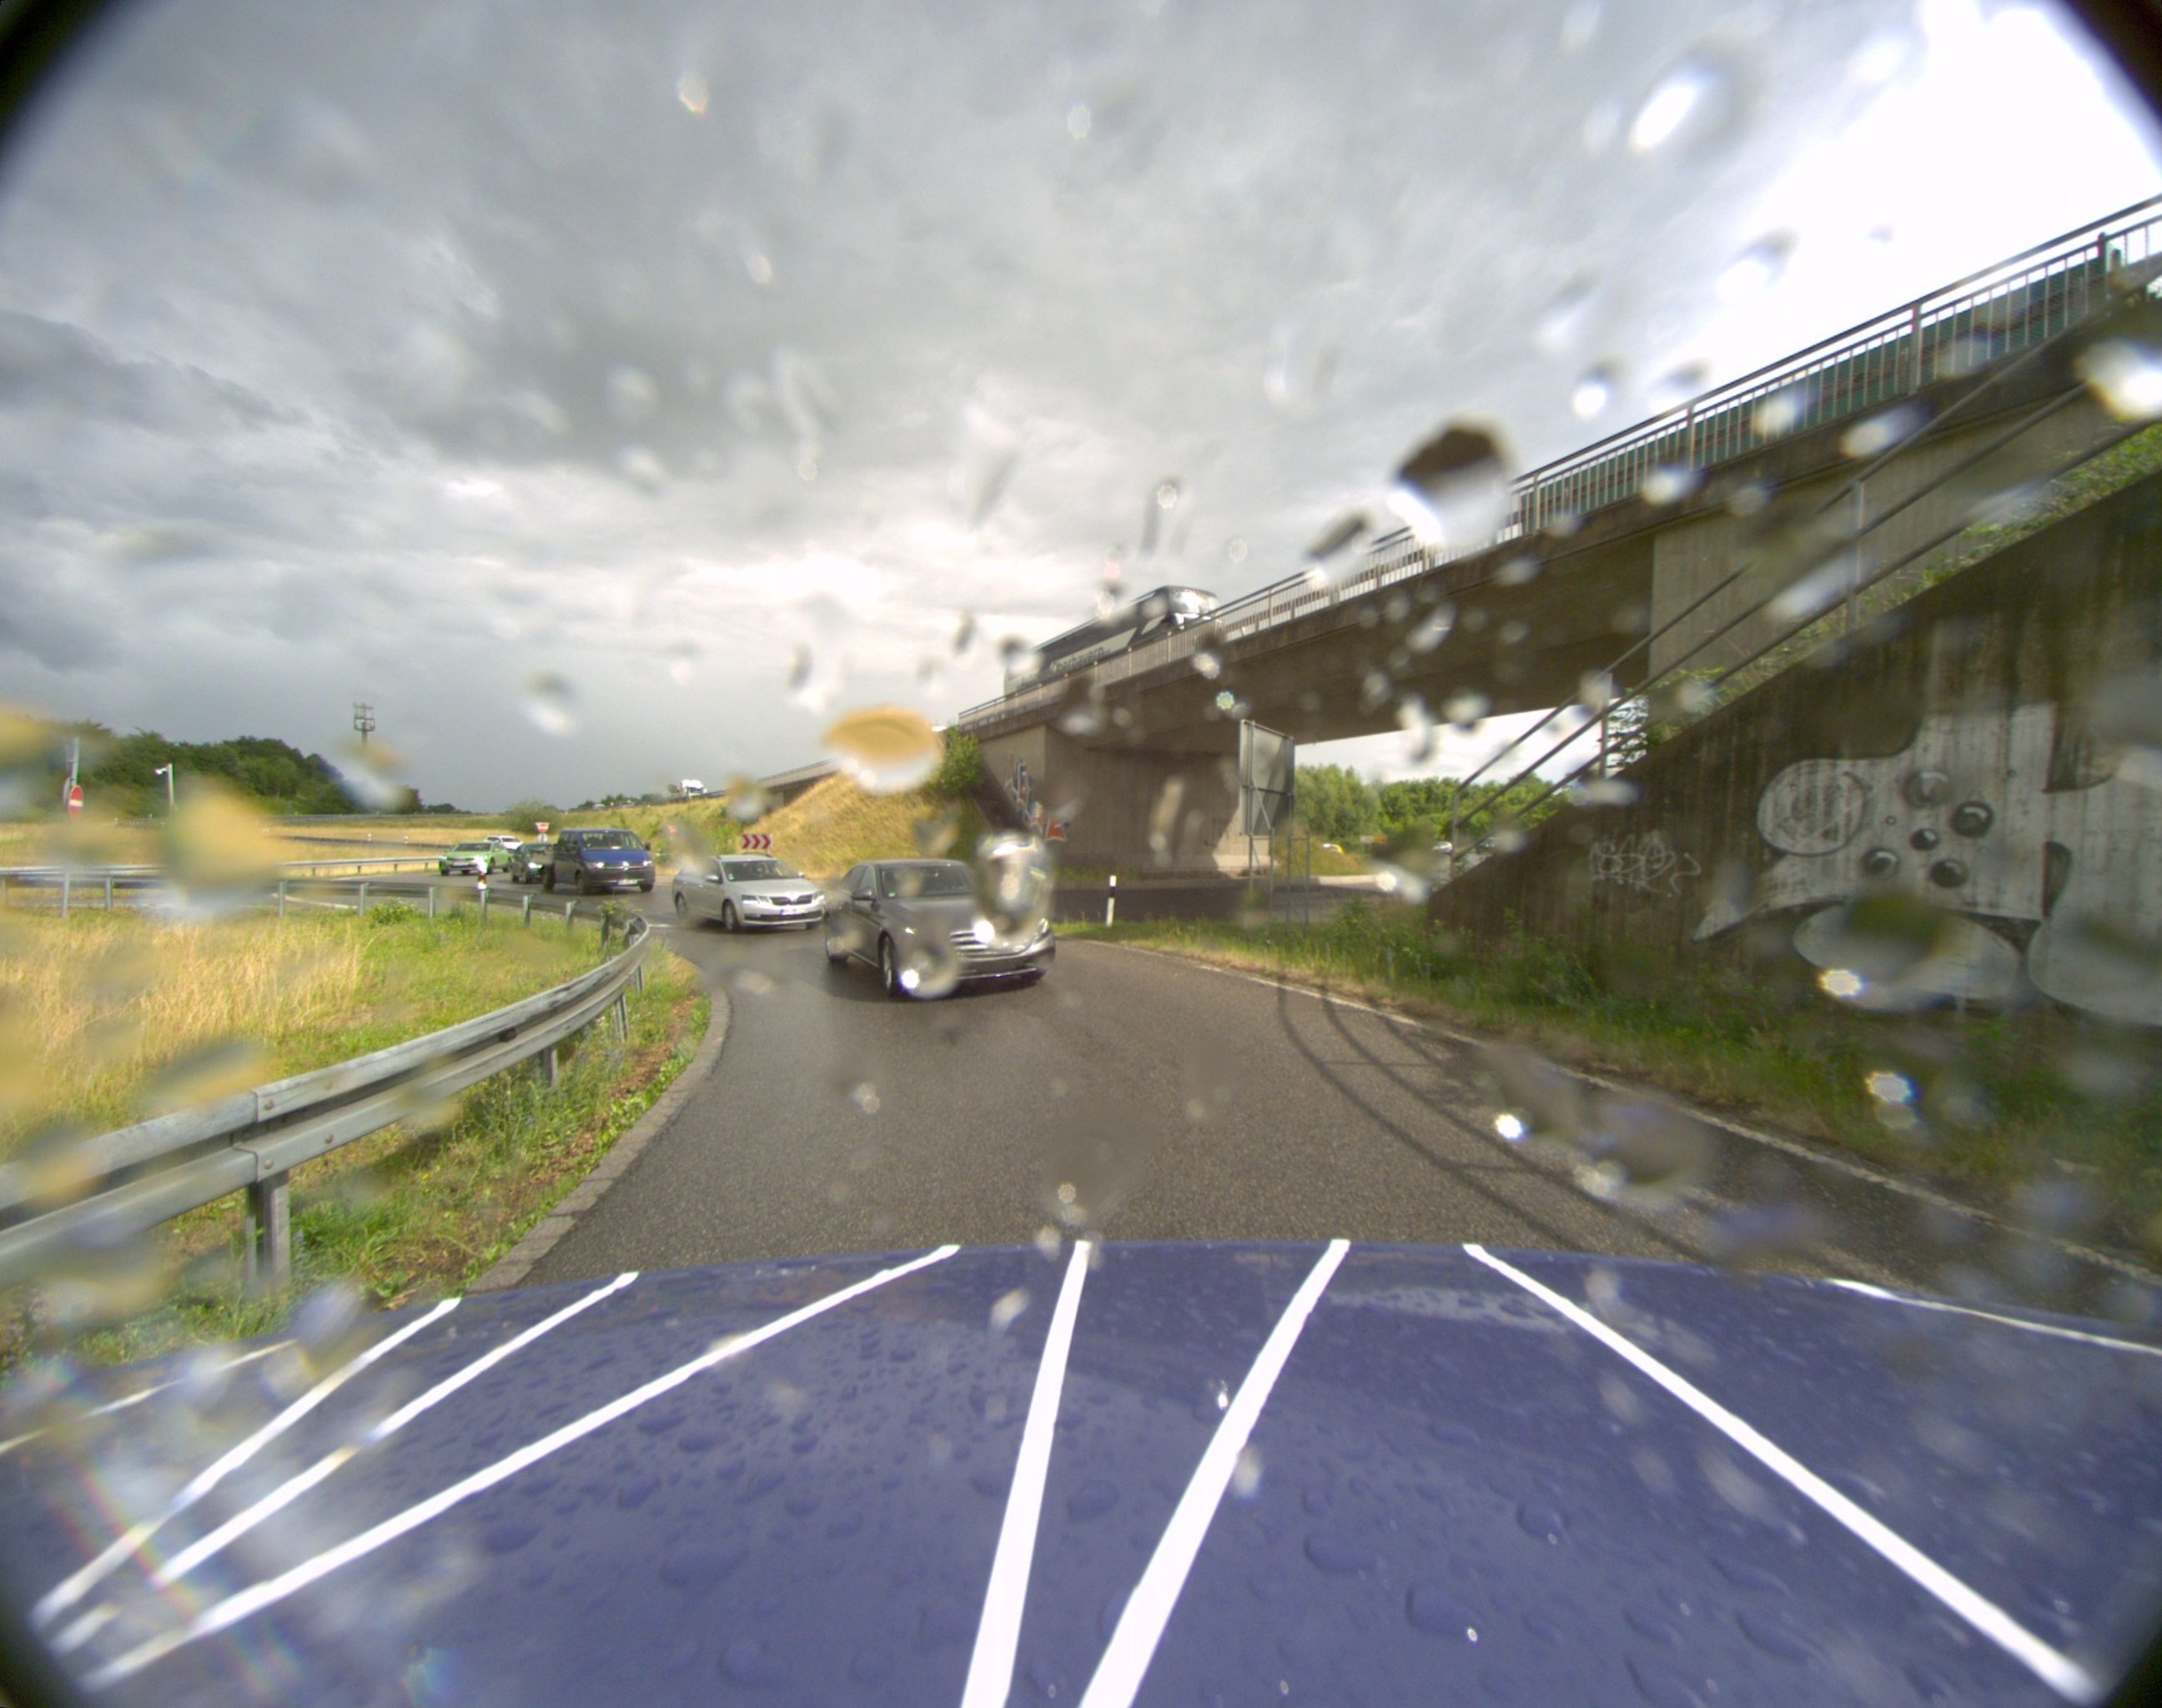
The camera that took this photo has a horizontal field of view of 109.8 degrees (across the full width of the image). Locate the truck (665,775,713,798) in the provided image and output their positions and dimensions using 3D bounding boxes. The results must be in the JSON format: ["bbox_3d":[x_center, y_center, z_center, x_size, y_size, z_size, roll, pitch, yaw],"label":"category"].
[{"bbox_3d":[-60.584,-10.323,117.398,9.250,3.177,3.167,2,4,40],"label":"truck"}]

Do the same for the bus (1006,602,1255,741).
[{"bbox_3d":[1.151,-6.931,31.503,2.617,3.063,14.424,-2,3,-31],"label":"bus"}]

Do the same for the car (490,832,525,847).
[{"bbox_3d":[-49.097,-1.252,65.046,3.762,1.283,1.715,2,2,43],"label":"car"}]

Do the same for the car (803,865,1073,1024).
[{"bbox_3d":[-2.069,0.893,9.613,1.775,1.383,4.579,-1,1,-32],"label":"car"}]

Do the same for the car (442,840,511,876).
[{"bbox_3d":[-27.138,0.120,34.205,1.621,1.466,3.837,-1,2,-26],"label":"car"}]

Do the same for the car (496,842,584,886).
[{"bbox_3d":[-19.696,0.309,27.611,3.834,1.466,1.661,2,2,40],"label":"car"}]

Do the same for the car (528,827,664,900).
[{"bbox_3d":[-14.953,0.175,23.268,5.664,1.904,1.897,3,3,40],"label":"car"}]

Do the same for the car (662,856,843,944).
[{"bbox_3d":[-6.772,0.815,15.440,4.336,1.391,1.801,1,4,44],"label":"car"}]
